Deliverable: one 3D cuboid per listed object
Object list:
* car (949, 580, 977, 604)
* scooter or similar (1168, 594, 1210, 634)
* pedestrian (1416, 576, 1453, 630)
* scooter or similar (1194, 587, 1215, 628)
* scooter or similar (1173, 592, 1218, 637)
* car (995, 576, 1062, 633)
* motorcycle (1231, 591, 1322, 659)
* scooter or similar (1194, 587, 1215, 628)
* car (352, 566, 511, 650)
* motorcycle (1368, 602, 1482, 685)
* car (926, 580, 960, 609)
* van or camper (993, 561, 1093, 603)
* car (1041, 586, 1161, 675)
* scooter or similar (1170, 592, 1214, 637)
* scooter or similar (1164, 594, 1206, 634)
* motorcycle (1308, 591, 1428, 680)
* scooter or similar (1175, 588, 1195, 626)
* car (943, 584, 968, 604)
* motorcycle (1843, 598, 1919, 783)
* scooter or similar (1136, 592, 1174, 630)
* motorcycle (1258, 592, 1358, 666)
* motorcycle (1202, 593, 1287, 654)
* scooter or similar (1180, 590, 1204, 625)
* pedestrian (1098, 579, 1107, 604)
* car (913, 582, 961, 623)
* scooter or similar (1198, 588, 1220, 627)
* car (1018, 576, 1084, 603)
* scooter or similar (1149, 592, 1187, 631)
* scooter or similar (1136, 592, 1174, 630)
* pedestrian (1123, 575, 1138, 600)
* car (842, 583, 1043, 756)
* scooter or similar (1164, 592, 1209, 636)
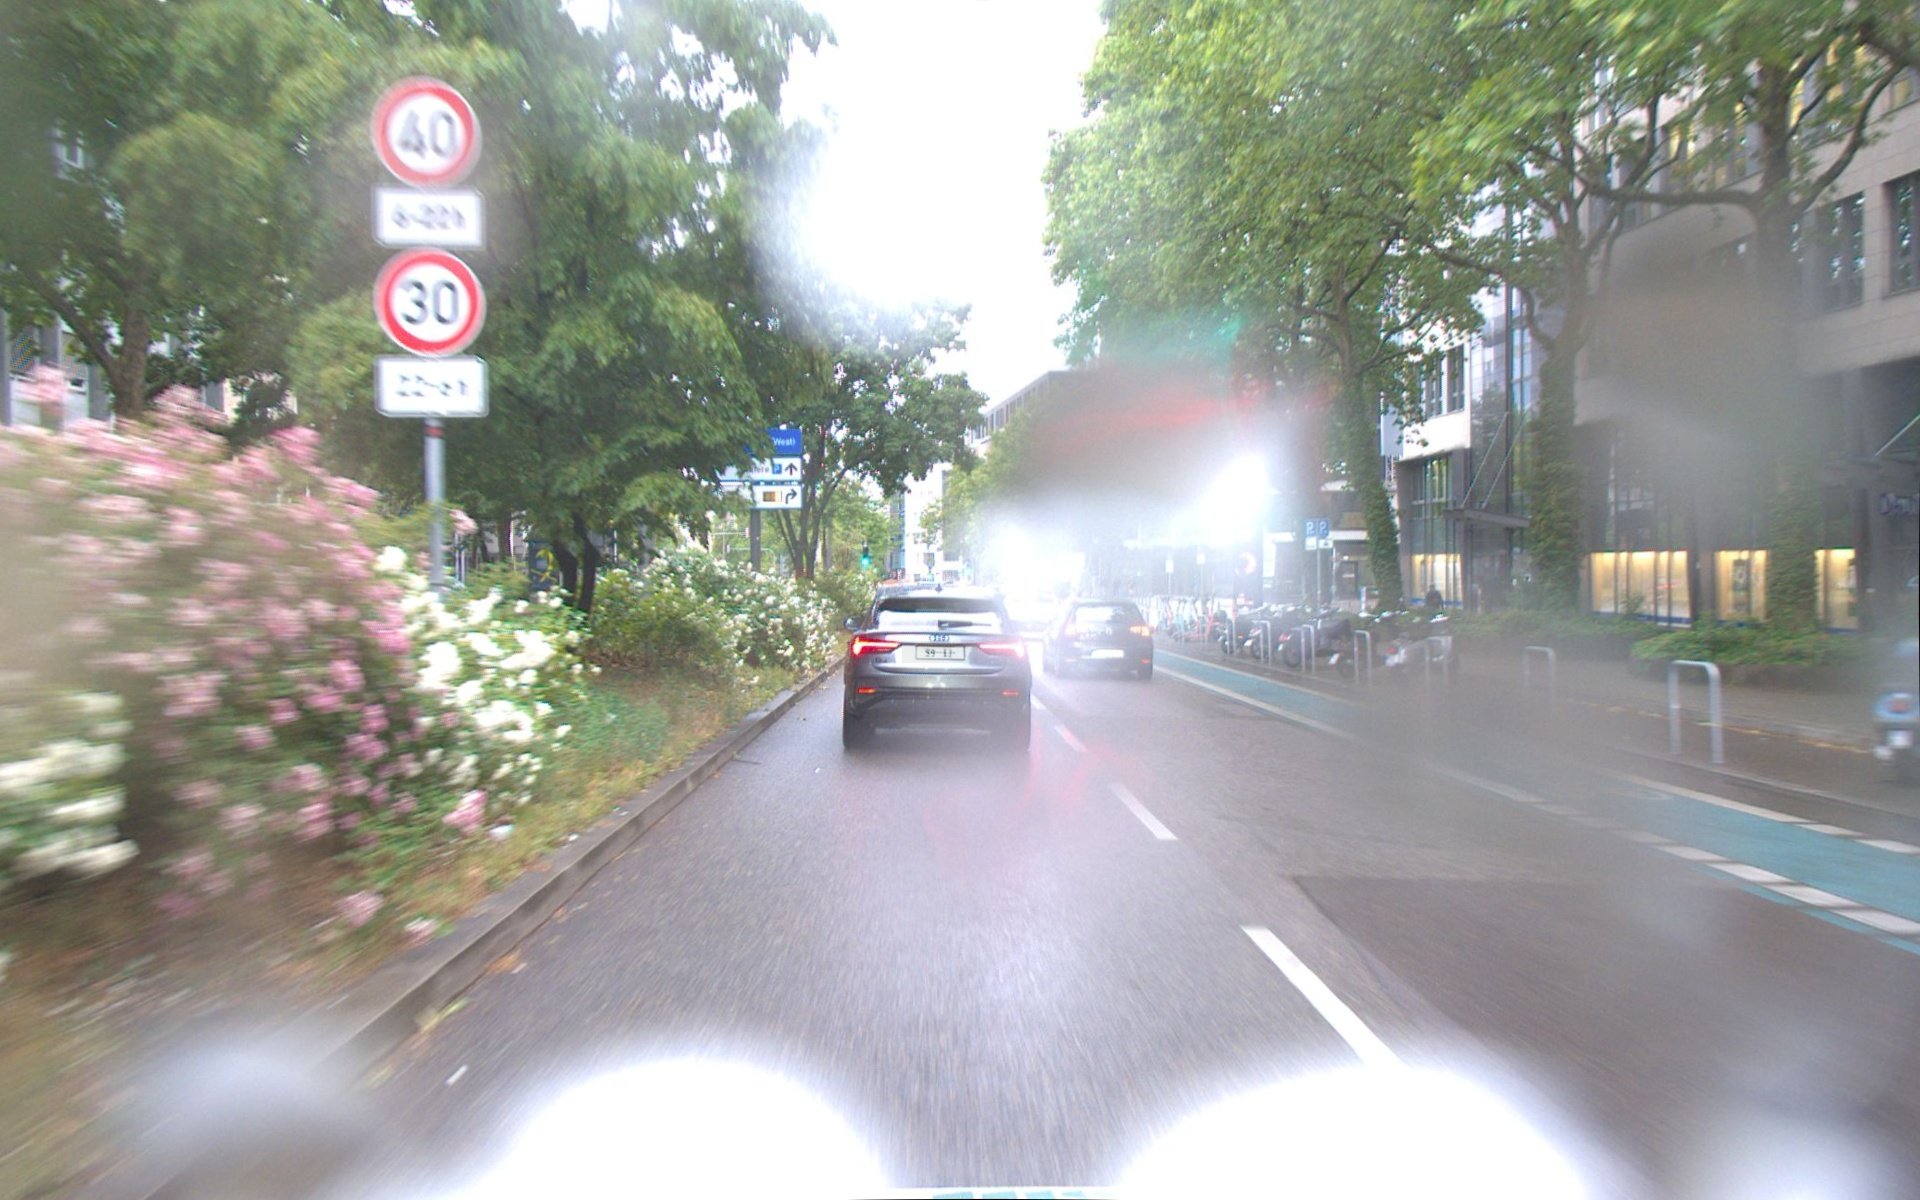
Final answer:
[{"bbox_3d":[0.174,-0.523,110.590,1.812,1.550,4.037,0,0,-1],"label":"car"},{"bbox_3d":[7.315,0.445,52.932,1.263,1.257,0.489,-1,2,1],"label":"scooter or similar"},{"bbox_3d":[16.697,0.111,58.262,0.898,1.882,1.276,1,0,-1],"label":"pedestrian"},{"bbox_3d":[8.100,0.237,54.856,0.478,1.281,1.293,-1,2,-1],"label":"scooter or similar"},{"bbox_3d":[7.060,0.430,49.659,1.262,1.300,0.537,-1,2,3],"label":"scooter or similar"},{"bbox_3d":[2.104,0.119,51.838,1.812,1.698,4.037,0,0,-1],"label":"car"},{"bbox_3d":[7.123,0.550,37.195,1.929,1.397,0.724,-2,2,-23],"label":"motorcycle"},{"bbox_3d":[8.100,0.237,54.856,0.478,1.281,1.293,-1,2,-1],"label":"scooter or similar"},{"bbox_3d":[-10.271,0.134,32.470,1.692,1.453,4.496,-2,0,-1],"label":"car"},{"bbox_3d":[7.608,0.698,27.029,2.038,1.234,0.676,-3,0,-37],"label":"motorcycle"},{"bbox_3d":[-0.978,-0.322,93.133,1.812,1.550,4.037,0,0,-1],"label":"car"},{"bbox_3d":[5.214,-1.122,103.772,5.946,2.603,2.103,0,0,26],"label":"van or camper"},{"bbox_3d":[2.555,0.515,30.813,1.812,1.550,4.037,0,0,-1],"label":"car"},{"bbox_3d":[7.034,0.431,50.102,1.262,1.300,0.537,-1,2,3],"label":"scooter or similar"},{"bbox_3d":[7.297,0.447,53.676,1.263,1.257,0.489,-1,2,1],"label":"scooter or similar"},{"bbox_3d":[7.250,0.604,29.371,2.025,1.453,0.724,-2,2,-23],"label":"motorcycle"},{"bbox_3d":[7.847,0.243,57.786,0.478,1.281,1.293,-1,2,-1],"label":"scooter or similar"},{"bbox_3d":[-0.354,-0.494,129.014,1.812,1.550,4.037,0,0,-1],"label":"car"},{"bbox_3d":[7.955,0.708,13.761,0.672,1.391,1.936,-3,0,39],"label":"motorcycle"},{"bbox_3d":[6.809,0.381,57.730,1.262,1.281,0.490,-1,2,10],"label":"scooter or similar"},{"bbox_3d":[7.114,0.580,33.762,1.929,1.397,0.724,-2,2,-23],"label":"motorcycle"},{"bbox_3d":[6.968,0.559,40.465,1.925,1.397,0.726,-2,2,-18],"label":"motorcycle"},{"bbox_3d":[8.224,0.252,58.652,0.479,1.218,1.290,0,0,-11],"label":"scooter or similar"},{"bbox_3d":[10.523,-0.657,122.447,0.542,1.836,0.761,1,0,-5],"label":"pedestrian"},{"bbox_3d":[-0.924,0.067,65.017,1.812,1.550,4.037,0,0,-1],"label":"car"},{"bbox_3d":[8.445,0.246,56.097,0.478,1.281,1.293,-1,2,-1],"label":"scooter or similar"},{"bbox_3d":[5.359,-0.631,97.630,3.572,1.574,1.716,1,1,18],"label":"car"},{"bbox_3d":[7.126,0.382,56.593,1.262,1.281,0.490,-1,2,10],"label":"scooter or similar"},{"bbox_3d":[6.747,0.378,57.117,1.262,1.281,0.490,-1,2,10],"label":"scooter or similar"},{"bbox_3d":[11.774,-0.846,113.952,0.789,1.726,1.186,1,0,-5],"label":"pedestrian"},{"bbox_3d":[-0.227,0.613,16.954,1.812,1.550,4.037,0,0,-2],"label":"car"},{"bbox_3d":[6.947,0.433,50.784,1.267,1.300,0.535,-2,2,-12],"label":"scooter or similar"}]
